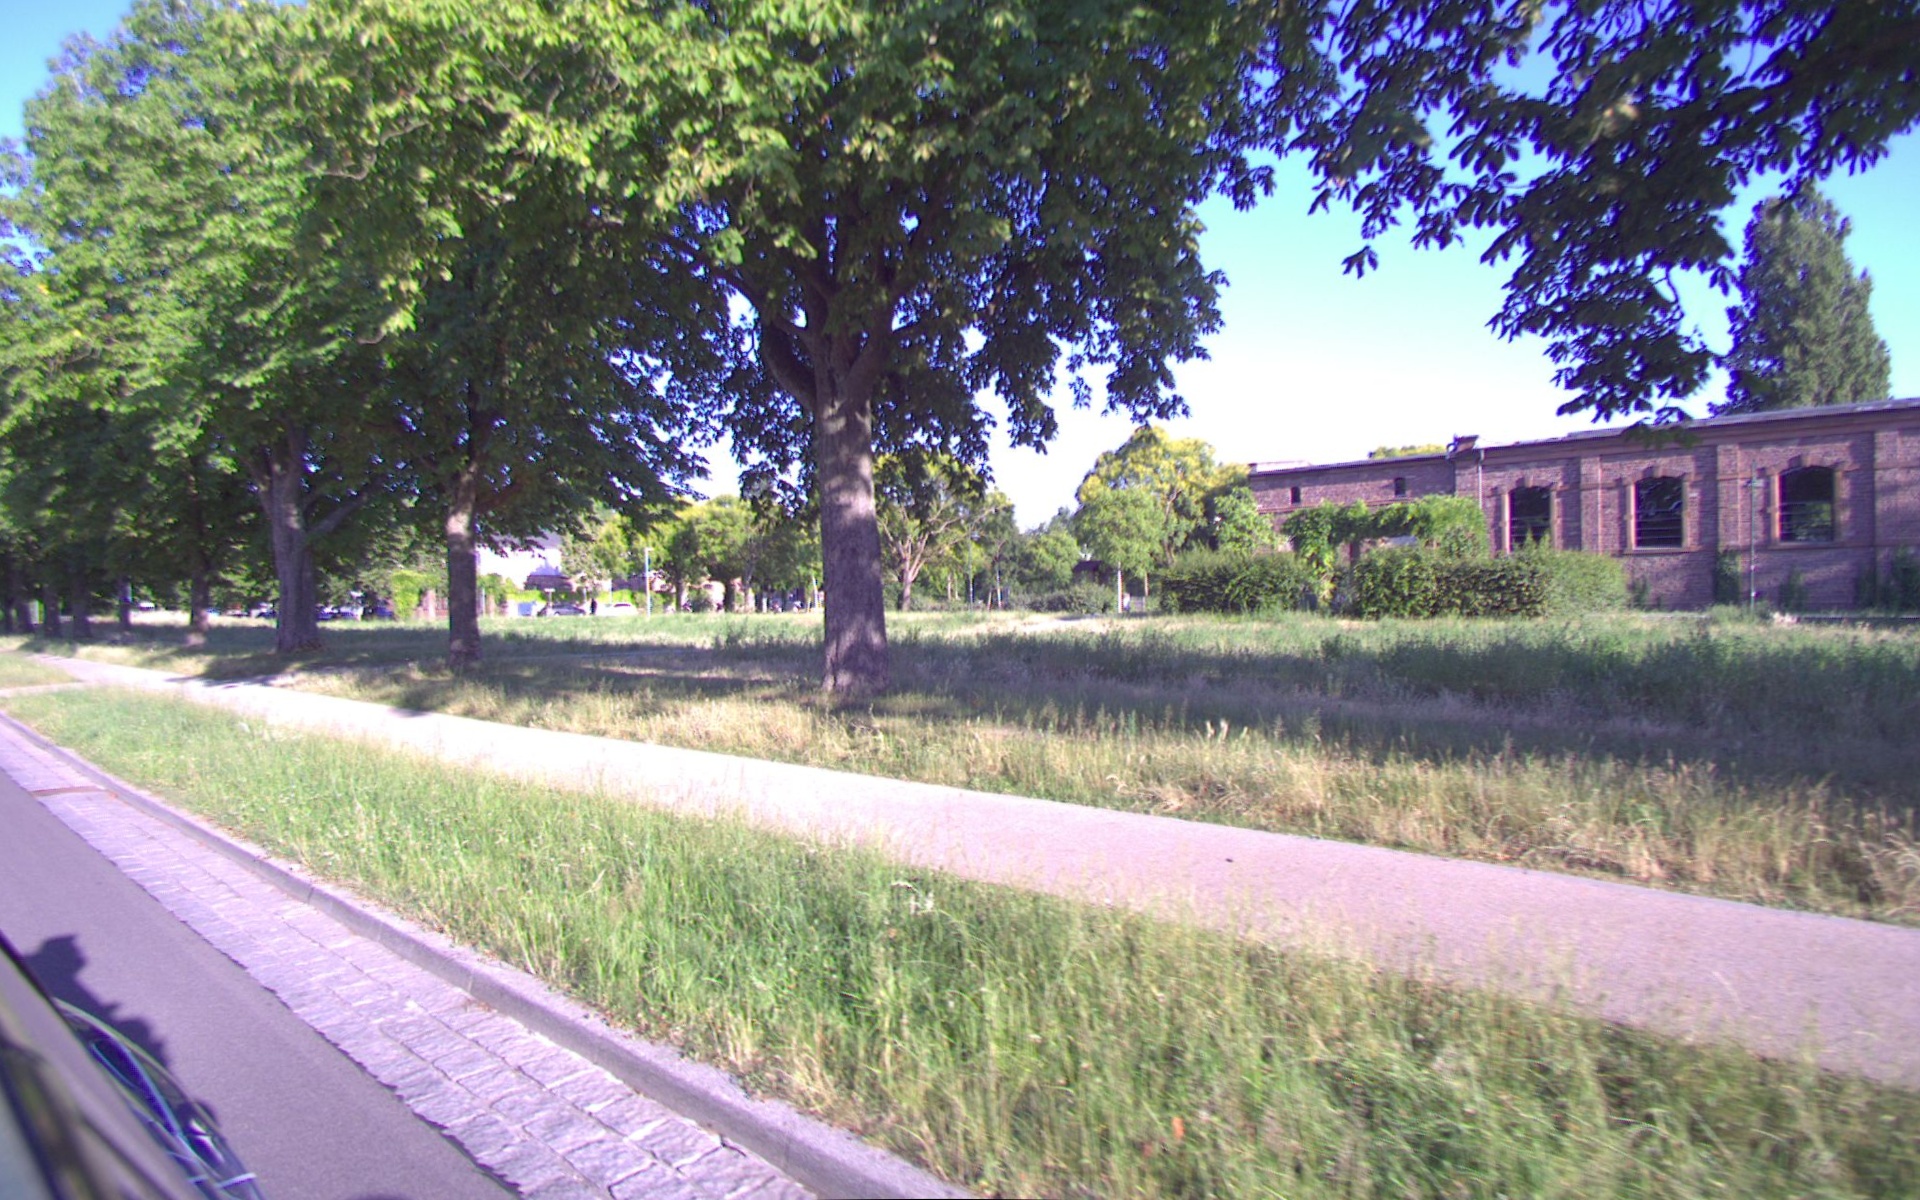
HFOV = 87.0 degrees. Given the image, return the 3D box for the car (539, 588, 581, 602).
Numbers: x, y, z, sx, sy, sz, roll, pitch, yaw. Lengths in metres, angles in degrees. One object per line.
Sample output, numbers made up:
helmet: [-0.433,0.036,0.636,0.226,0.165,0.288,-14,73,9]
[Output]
car: [-40.386,-0.517,102.105,1.586,1.289,3.589,0,3,42]

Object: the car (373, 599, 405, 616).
car: [-62.034,0.822,109.970,3.998,1.641,1.744,-1,2,41]

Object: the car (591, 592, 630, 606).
car: [-37.100,-0.105,107.494,1.586,1.289,3.589,0,3,42]

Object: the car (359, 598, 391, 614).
car: [-57.009,0.545,98.574,3.639,1.492,1.564,0,2,42]
